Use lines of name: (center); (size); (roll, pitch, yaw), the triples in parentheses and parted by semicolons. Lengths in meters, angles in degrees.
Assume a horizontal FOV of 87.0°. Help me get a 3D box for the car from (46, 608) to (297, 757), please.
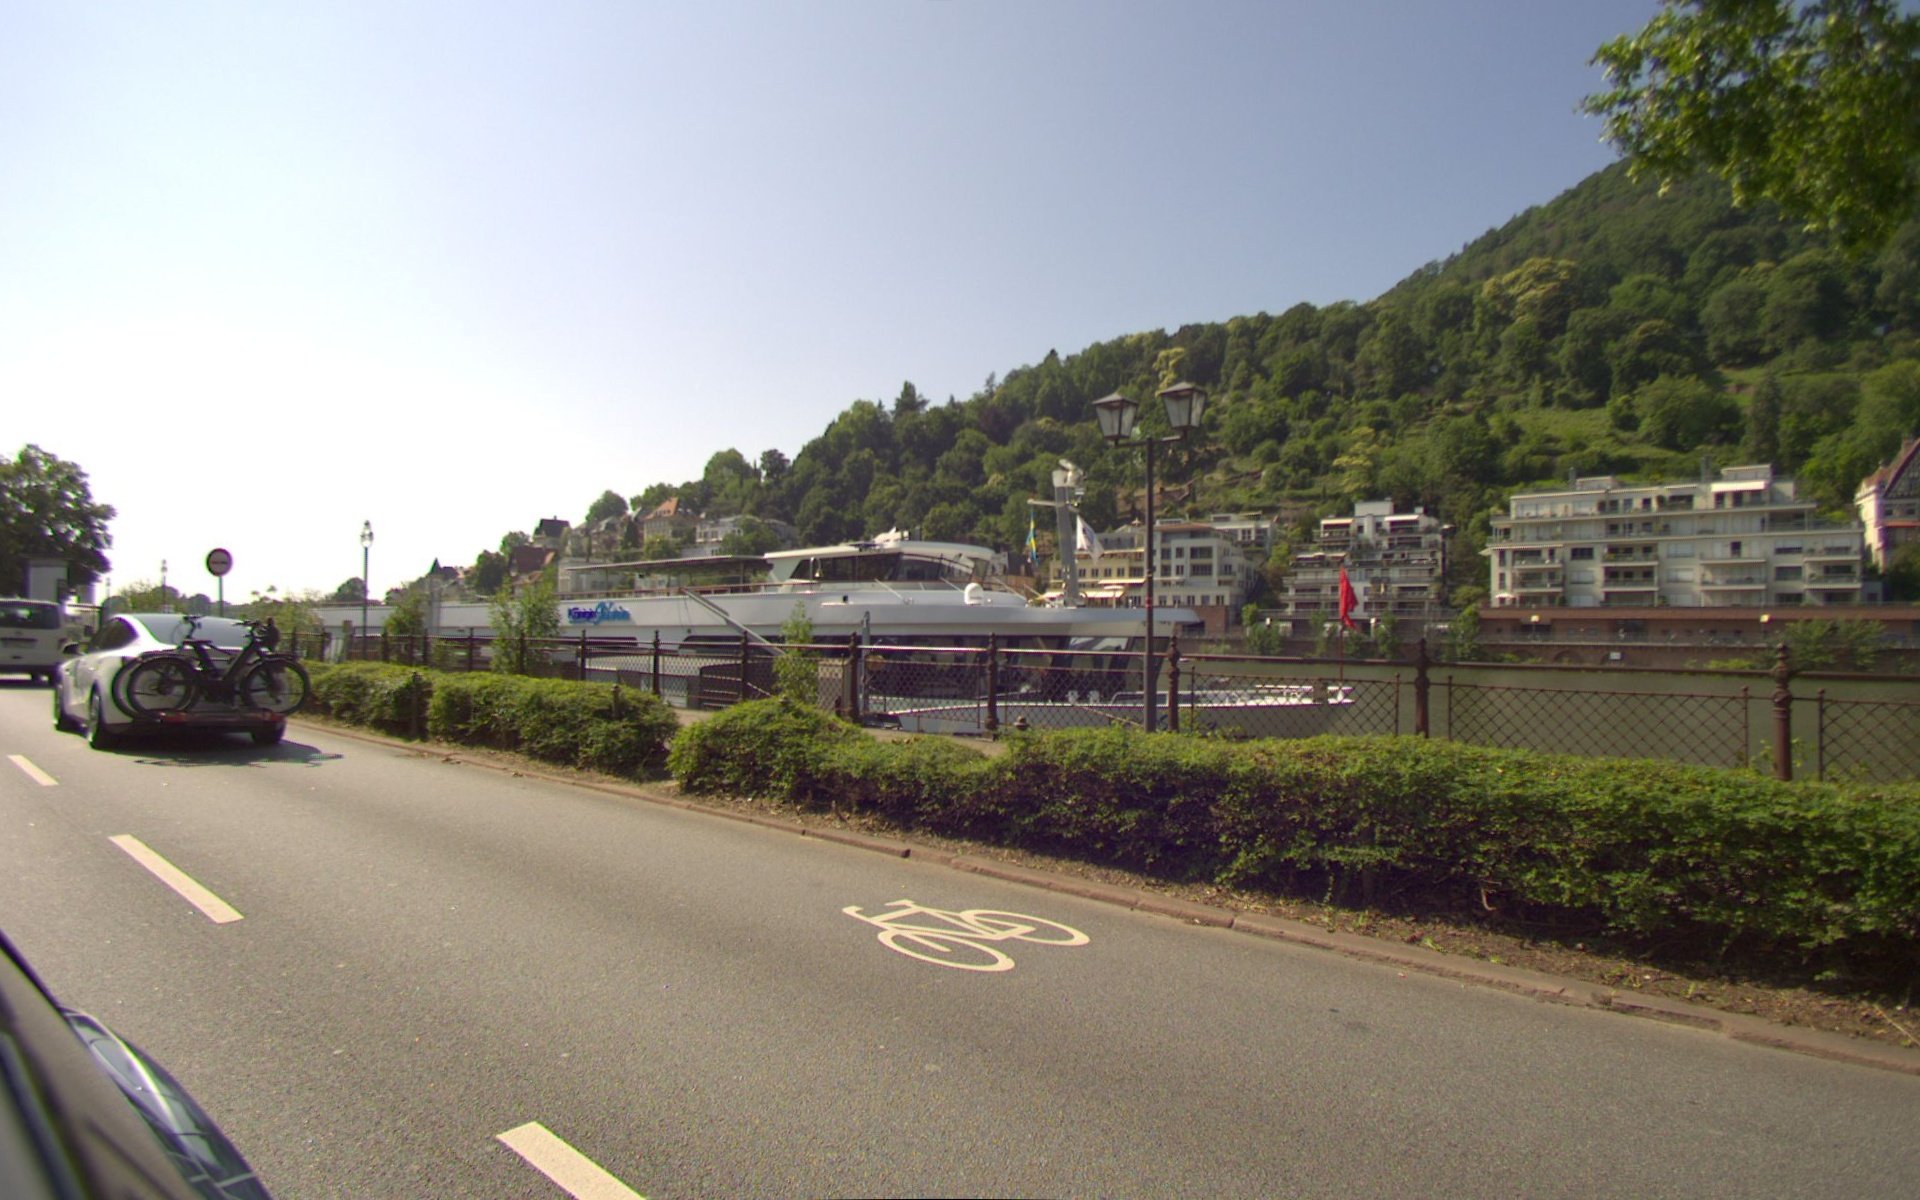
car: (-10.265, 0.981, 13.078); (3.958, 1.625, 1.802); (-1, -4, 42)

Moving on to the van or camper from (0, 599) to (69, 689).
van or camper: (-22.590, 1.002, 23.839); (3.999, 2.002, 1.897); (-1, -4, 42)

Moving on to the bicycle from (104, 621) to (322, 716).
bicycle: (-8.424, 0.732, 11.465); (0.955, 0.933, 1.848); (-1, 0, 42)
